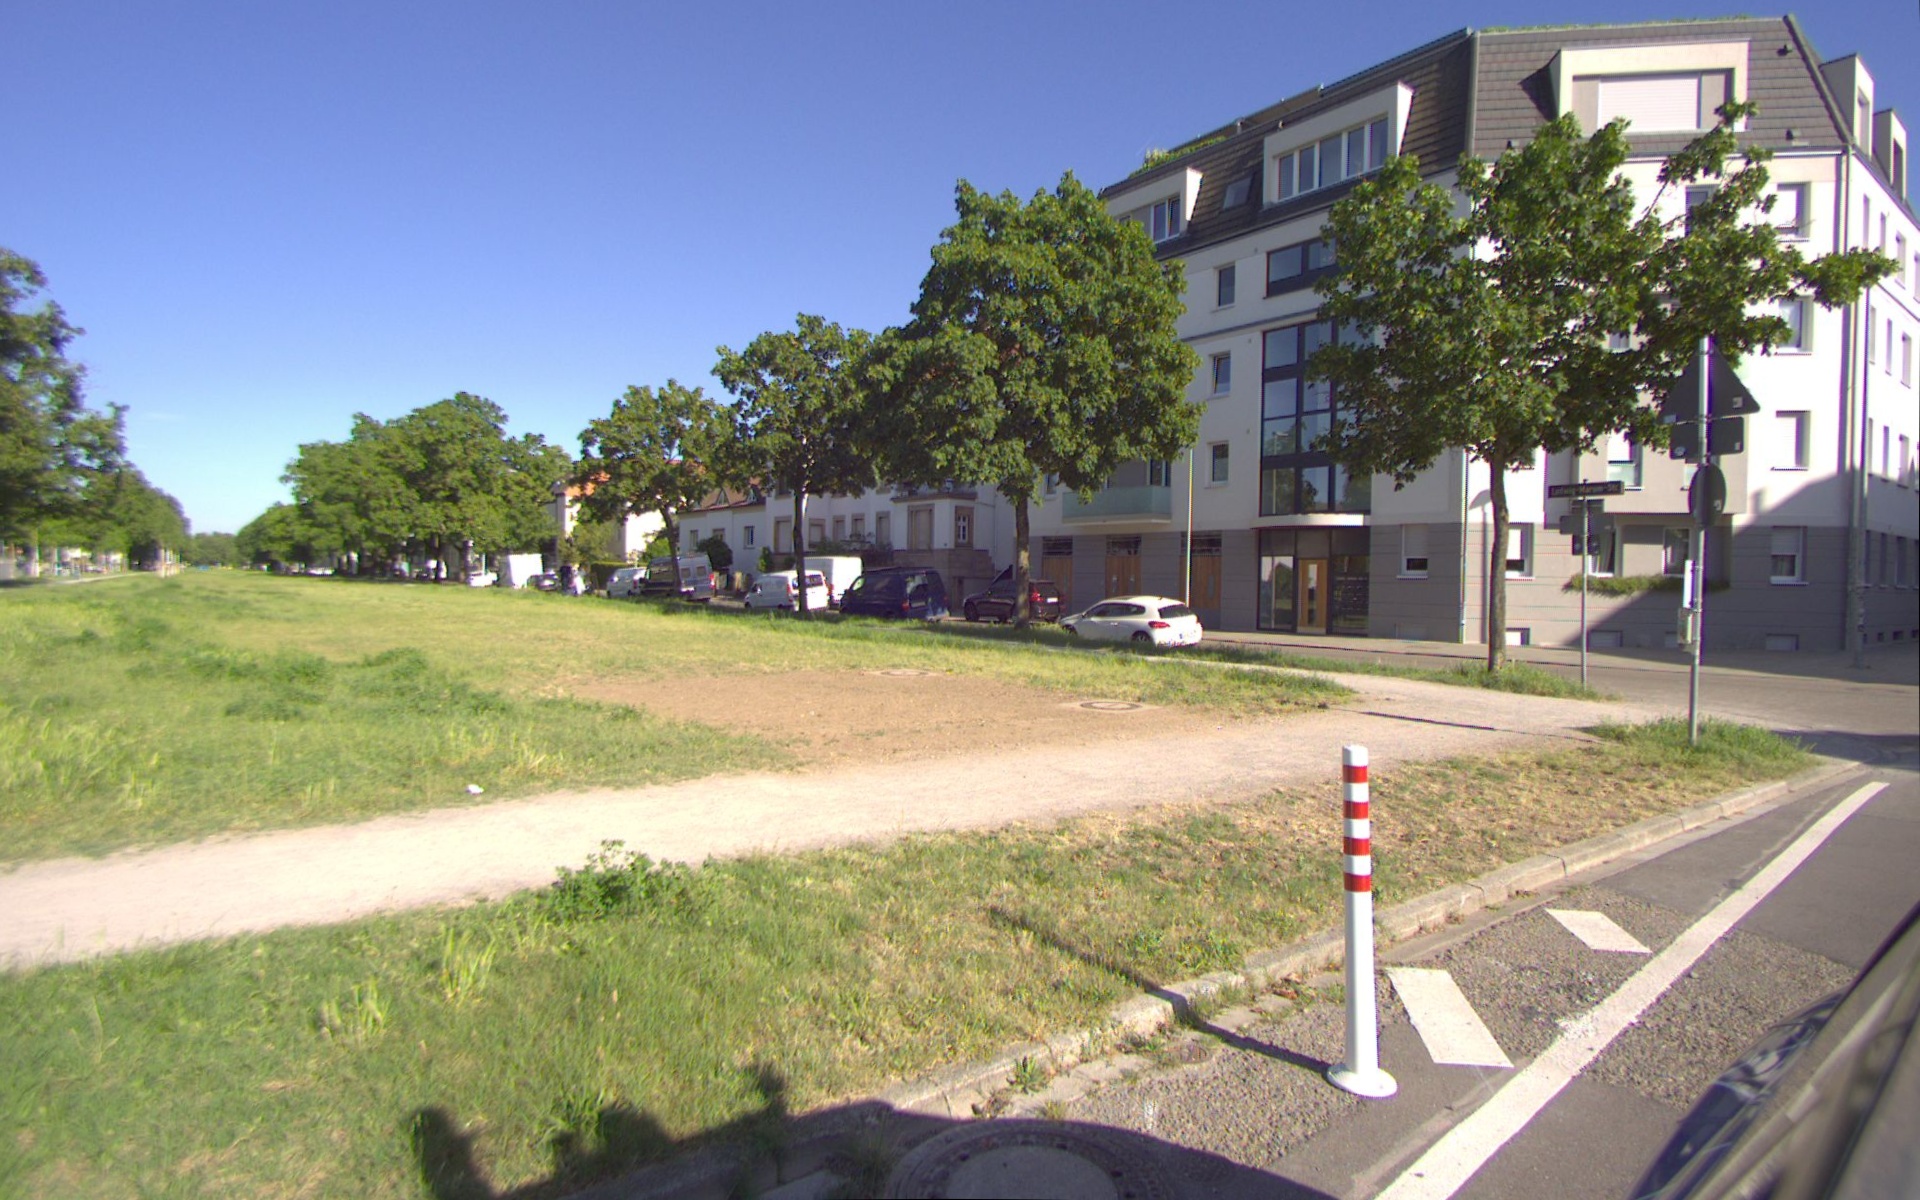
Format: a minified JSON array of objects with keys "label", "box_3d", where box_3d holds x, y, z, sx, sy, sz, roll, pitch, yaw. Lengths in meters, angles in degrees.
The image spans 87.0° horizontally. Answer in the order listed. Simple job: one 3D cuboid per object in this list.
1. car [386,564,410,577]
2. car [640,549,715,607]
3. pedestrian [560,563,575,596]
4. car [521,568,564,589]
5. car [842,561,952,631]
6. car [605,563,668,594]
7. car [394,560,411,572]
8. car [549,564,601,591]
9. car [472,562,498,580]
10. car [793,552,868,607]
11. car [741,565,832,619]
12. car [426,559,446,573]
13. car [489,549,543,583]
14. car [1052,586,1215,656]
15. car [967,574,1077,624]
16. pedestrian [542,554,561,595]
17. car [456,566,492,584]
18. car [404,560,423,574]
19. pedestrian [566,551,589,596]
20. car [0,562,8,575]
[{"label":"car","box_3d":[-69.259,-3.656,124.743,2.042,1.484,4.728,0,2,-36]},{"label":"car","box_3d":[-14.014,-1.130,50.077,2.153,2.615,4.288,-5,4,-36]},{"label":"pedestrian","box_3d":[-18.416,-0.973,47.478,0.487,1.524,0.535,1,1,-37]},{"label":"car","box_3d":[-29.189,-1.505,70.680,1.898,1.361,4.110,0,2,-36]},{"label":"car","box_3d":[-2.178,-0.213,34.074,1.752,2.108,3.994,-5,5,-36]},{"label":"car","box_3d":[-17.851,-1.207,55.737,2.046,1.618,4.288,0,2,-36]},{"label":"car","box_3d":[-87.479,-5.327,158.703,1.831,1.868,3.994,0,2,-36]},{"label":"car","box_3d":[-24.637,-1.454,64.650,2.046,1.618,4.288,0,2,-36]},{"label":"car","box_3d":[-50.728,-3.099,108.059,1.831,1.868,3.994,0,2,-36]},{"label":"car","box_3d":[-6.402,-1.047,49.770,1.985,2.580,3.994,-1,2,-36]},{"label":"car","box_3d":[-7.046,-0.384,40.774,1.842,1.906,4.424,-5,5,-35]},{"label":"car","box_3d":[-70.560,-4.627,136.256,1.831,1.868,3.994,0,2,-36]},{"label":"car","box_3d":[-33.291,-2.552,75.783,2.503,2.363,5.920,0,2,-36]},{"label":"car","box_3d":[4.322,0.472,25.753,1.709,1.450,3.993,-5,5,-37]},{"label":"car","box_3d":[2.258,-0.100,38.086,1.861,1.703,4.289,-1,3,-36]},{"label":"pedestrian","box_3d":[-19.040,-1.171,47.181,0.632,1.900,0.629,0,1,-38]},{"label":"car","box_3d":[-42.516,-2.194,88.443,2.042,1.484,4.728,0,2,-36]},{"label":"car","box_3d":[-79.021,-4.781,146.272,1.831,1.868,3.994,0,2,-36]},{"label":"pedestrian","box_3d":[-16.349,-1.135,43.255,0.711,1.900,0.629,1,1,-38]},{"label":"car","box_3d":[-101.045,-3.334,105.856,1.690,1.358,3.808,0,2,-37]}]
